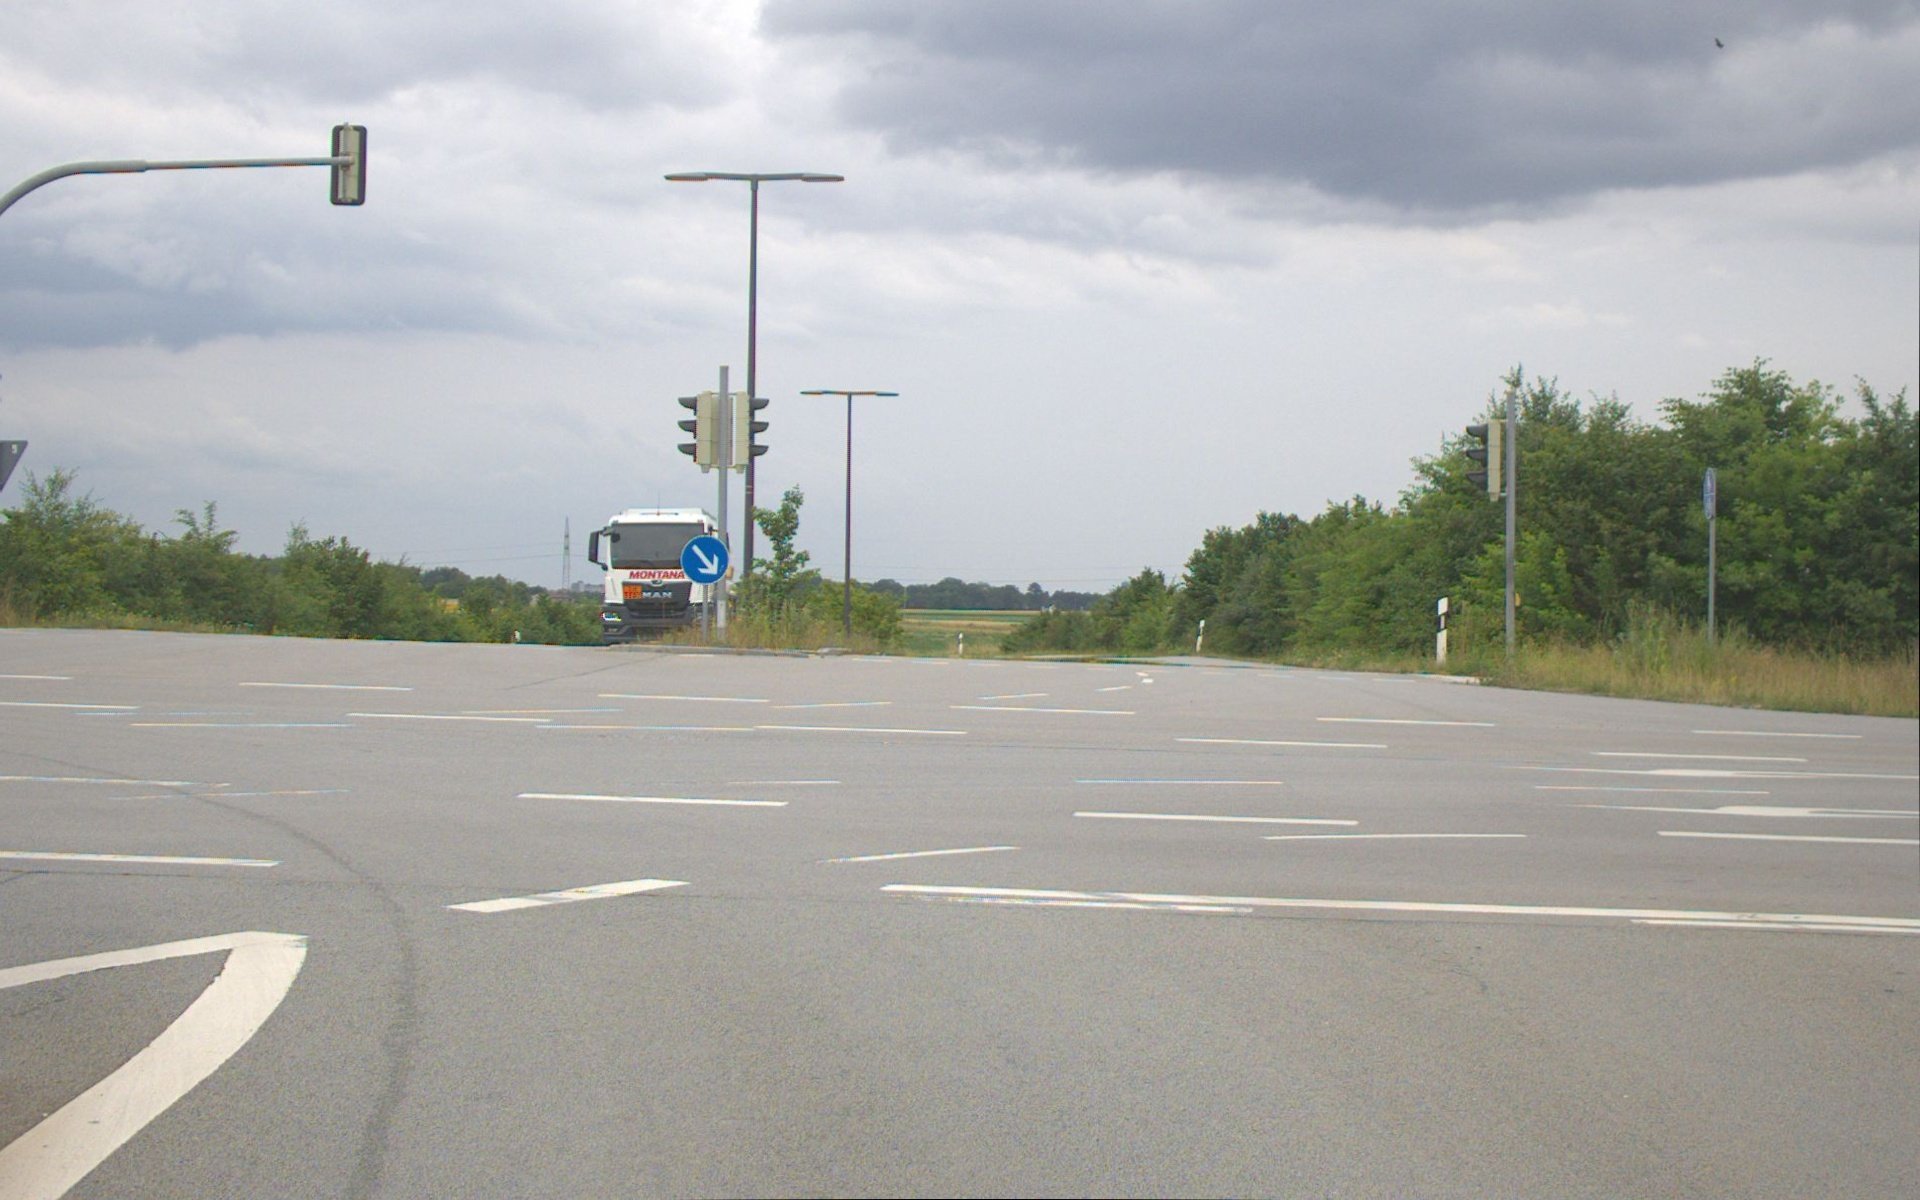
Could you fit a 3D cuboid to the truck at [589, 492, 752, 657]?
[{"bbox_3d":[-6.298,-0.484,75.978,2.869,3.396,8.650,1,-1,0],"label":"truck"}]
